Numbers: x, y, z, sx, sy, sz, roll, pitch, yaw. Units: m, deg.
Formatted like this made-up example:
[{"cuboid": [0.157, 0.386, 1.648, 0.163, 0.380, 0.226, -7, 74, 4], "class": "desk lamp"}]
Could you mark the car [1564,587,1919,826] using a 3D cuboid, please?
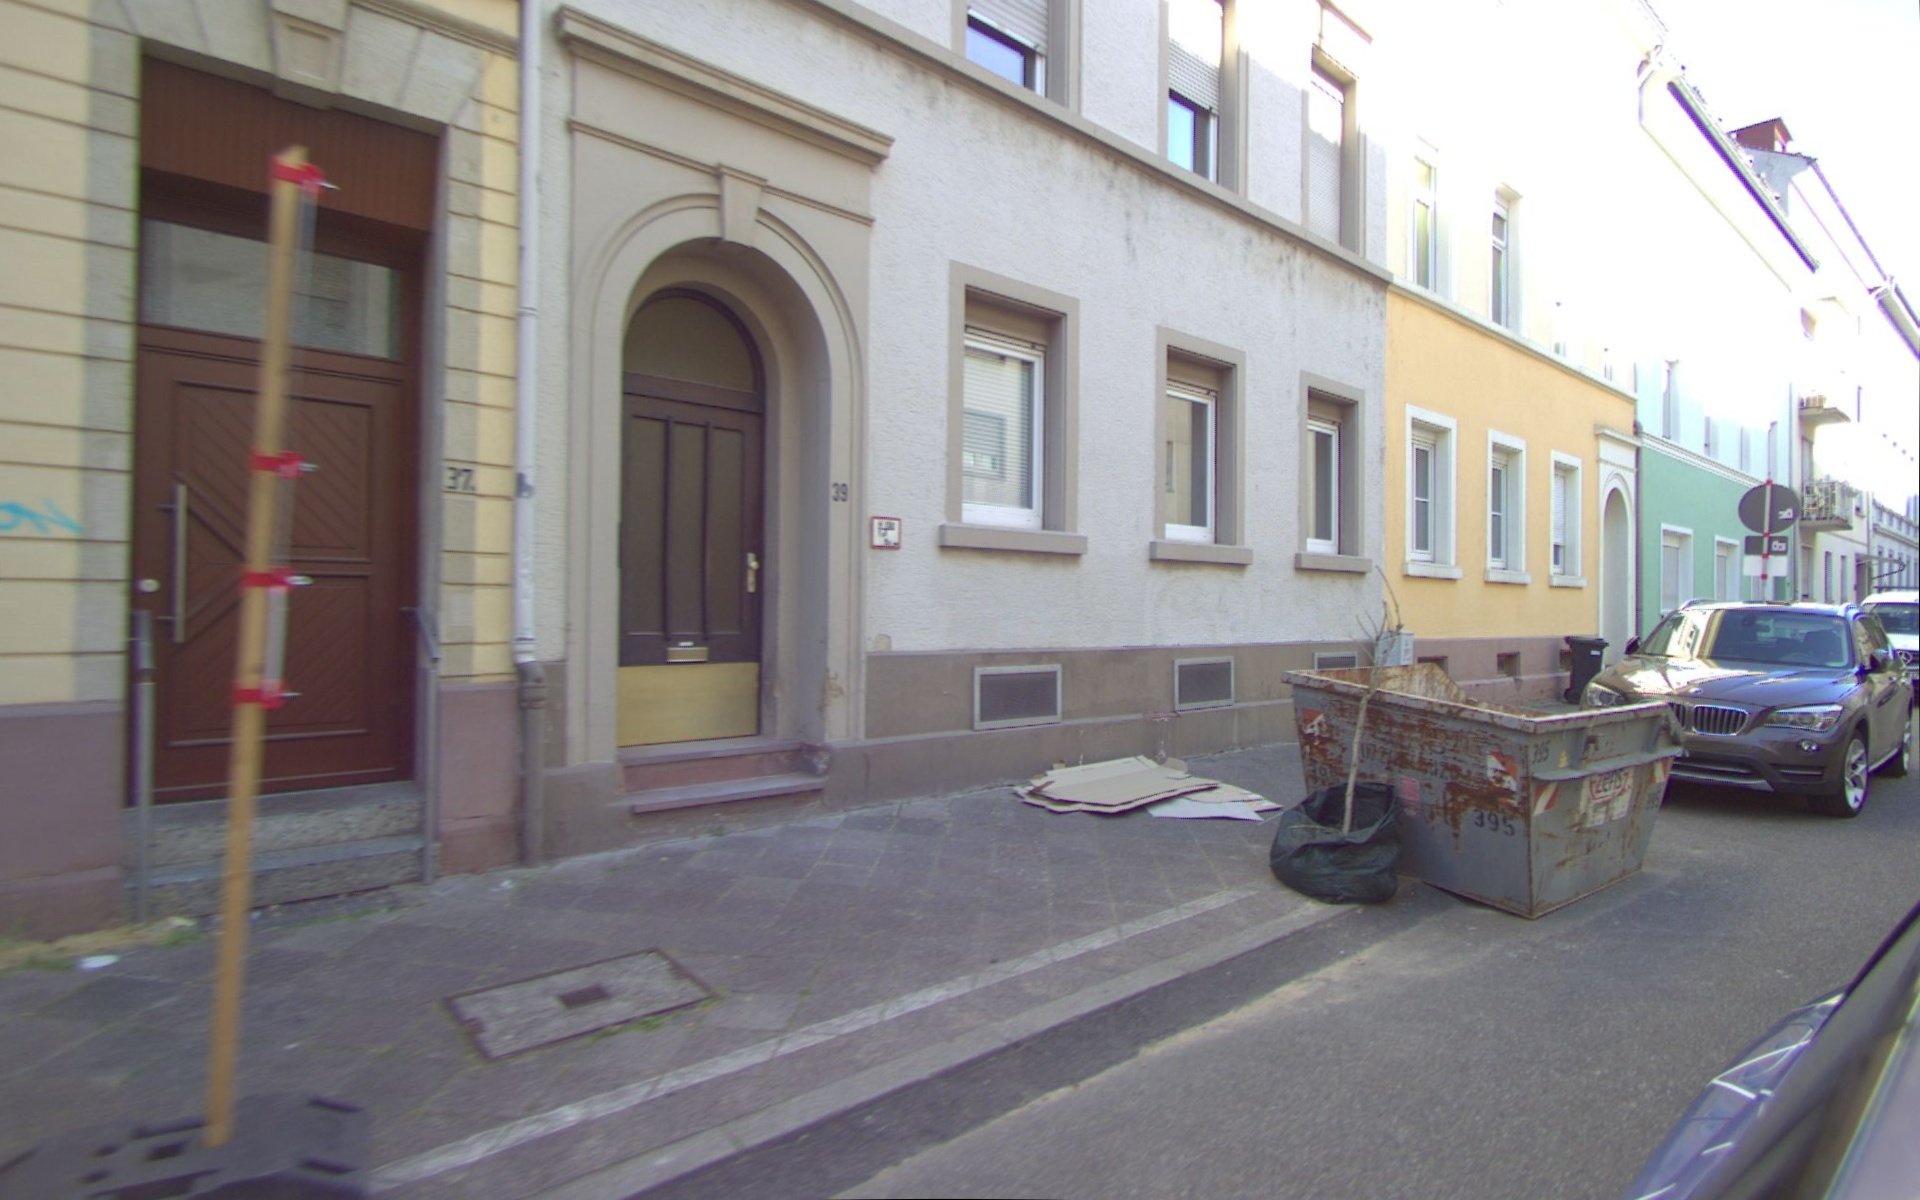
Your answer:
[{"cuboid": [6.831, 0.677, 8.619, 3.980, 1.562, 1.743, -1, 0, -41], "class": "car"}]

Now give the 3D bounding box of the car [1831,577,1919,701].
[{"cuboid": [16.449, 0.580, 17.193, 4.380, 1.910, 1.897, -1, 0, -41], "class": "car"}]
